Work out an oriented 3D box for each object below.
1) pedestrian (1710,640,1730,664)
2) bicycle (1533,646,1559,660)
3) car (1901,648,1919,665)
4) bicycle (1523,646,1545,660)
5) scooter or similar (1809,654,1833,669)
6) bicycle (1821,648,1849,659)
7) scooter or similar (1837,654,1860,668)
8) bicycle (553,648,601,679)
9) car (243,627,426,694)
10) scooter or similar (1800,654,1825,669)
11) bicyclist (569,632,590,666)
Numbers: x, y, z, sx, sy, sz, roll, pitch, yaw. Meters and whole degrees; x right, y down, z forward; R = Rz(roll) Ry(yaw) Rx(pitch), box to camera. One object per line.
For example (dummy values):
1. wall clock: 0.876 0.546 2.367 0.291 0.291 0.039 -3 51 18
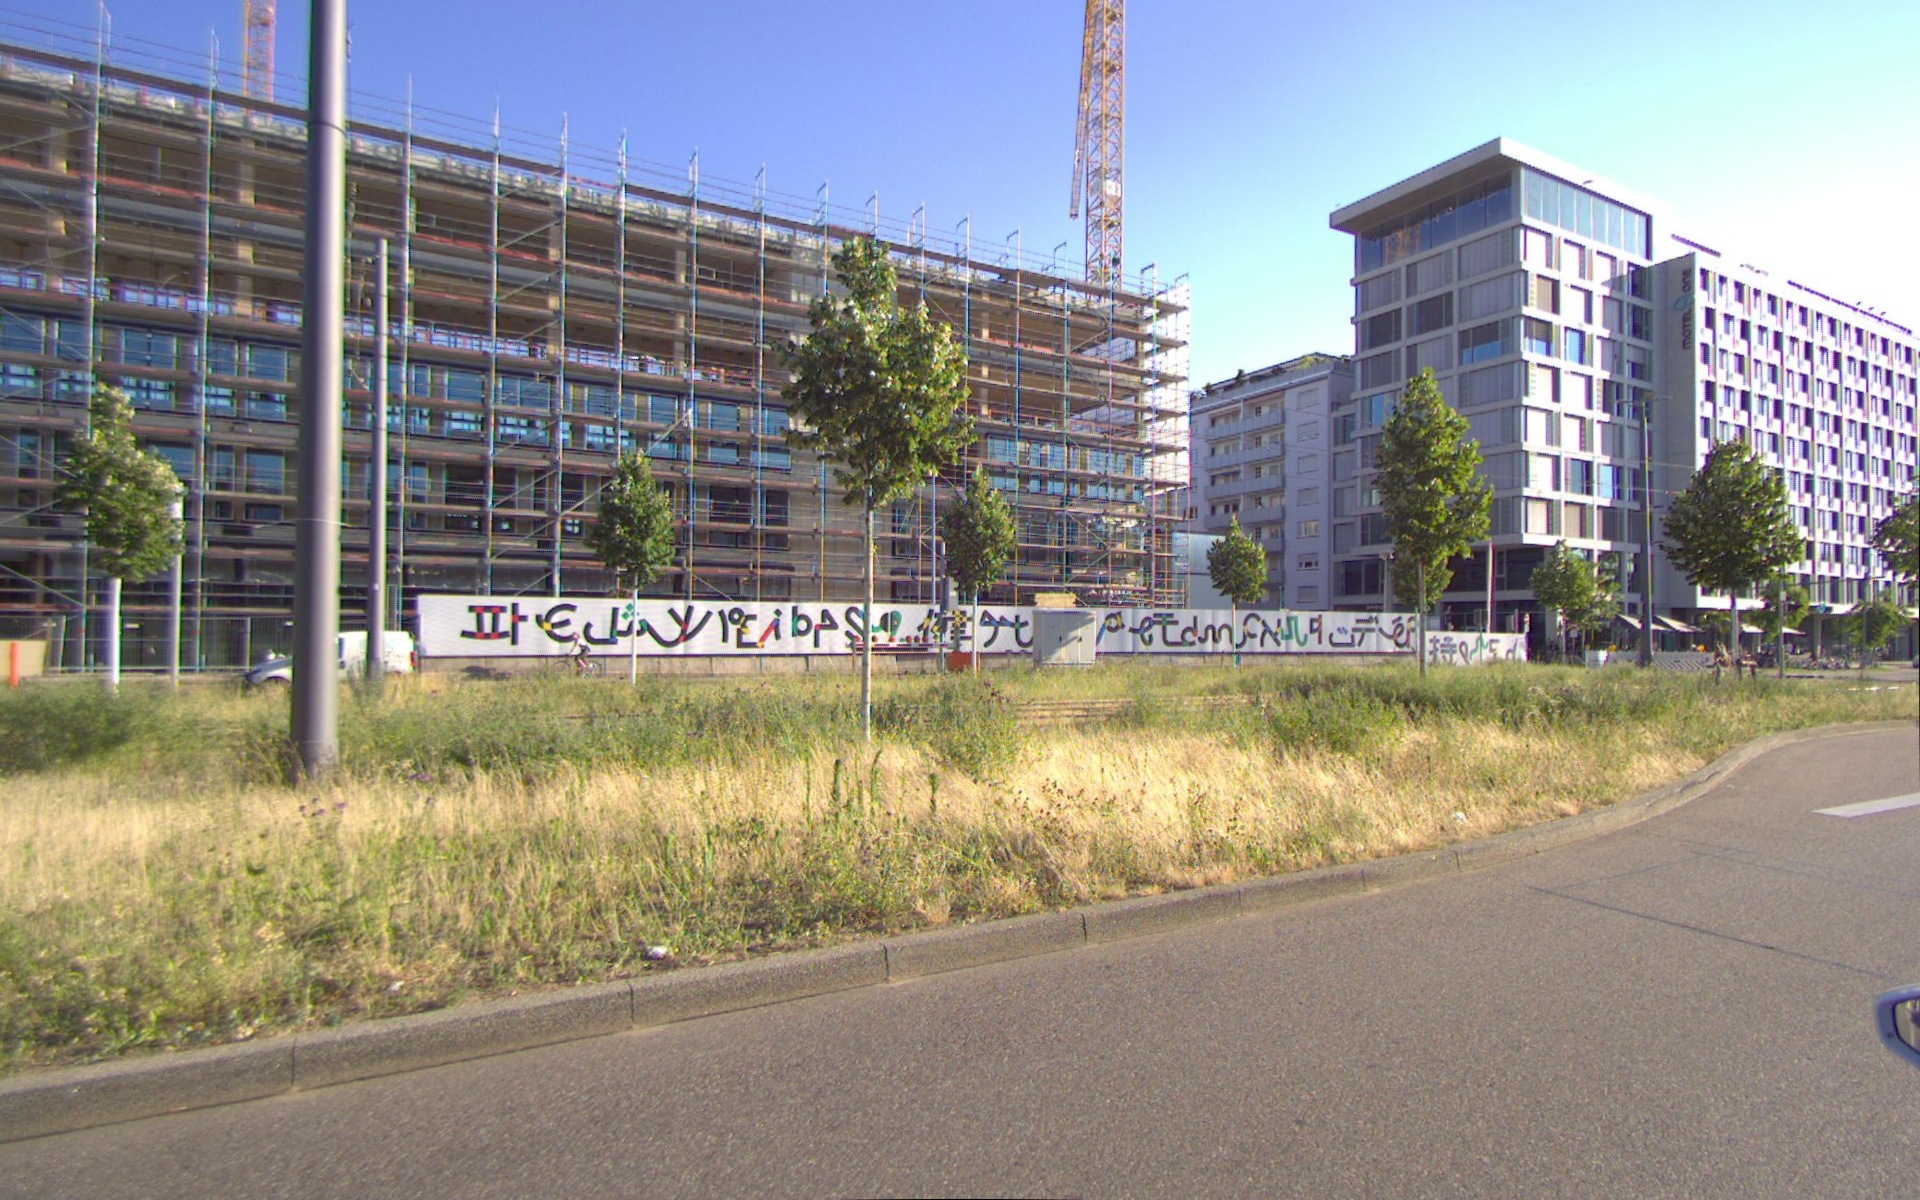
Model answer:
1. pedestrian: 54.306 3.715 71.809 0.791 1.744 0.868 1 -2 -20
2. bicycle: 40.692 3.664 69.736 2.191 0.948 0.615 2 -2 -31
3. car: 79.485 4.677 82.807 3.952 1.345 1.749 2 -1 -30
4. bicycle: 40.305 3.718 70.511 1.879 0.948 0.533 2 -2 -31
5. scooter or similar: 62.527 4.439 72.947 0.429 1.032 1.238 1 -2 -28
6. bicycle: 79.466 4.881 91.228 0.507 0.917 1.792 2 -2 -35
7. scooter or similar: 66.446 4.564 75.135 0.429 1.032 1.238 1 -2 -28
8. bicycle: -13.522 2.235 35.470 1.545 1.075 0.476 2 -2 -30
9. car: -15.719 1.494 25.474 3.796 1.578 1.597 2 -2 -30
10. scooter or similar: 61.236 4.416 72.167 0.504 1.032 1.238 1 -2 -28
11. bicyclist: -13.449 1.732 35.500 0.631 1.169 0.476 1 -2 -30
